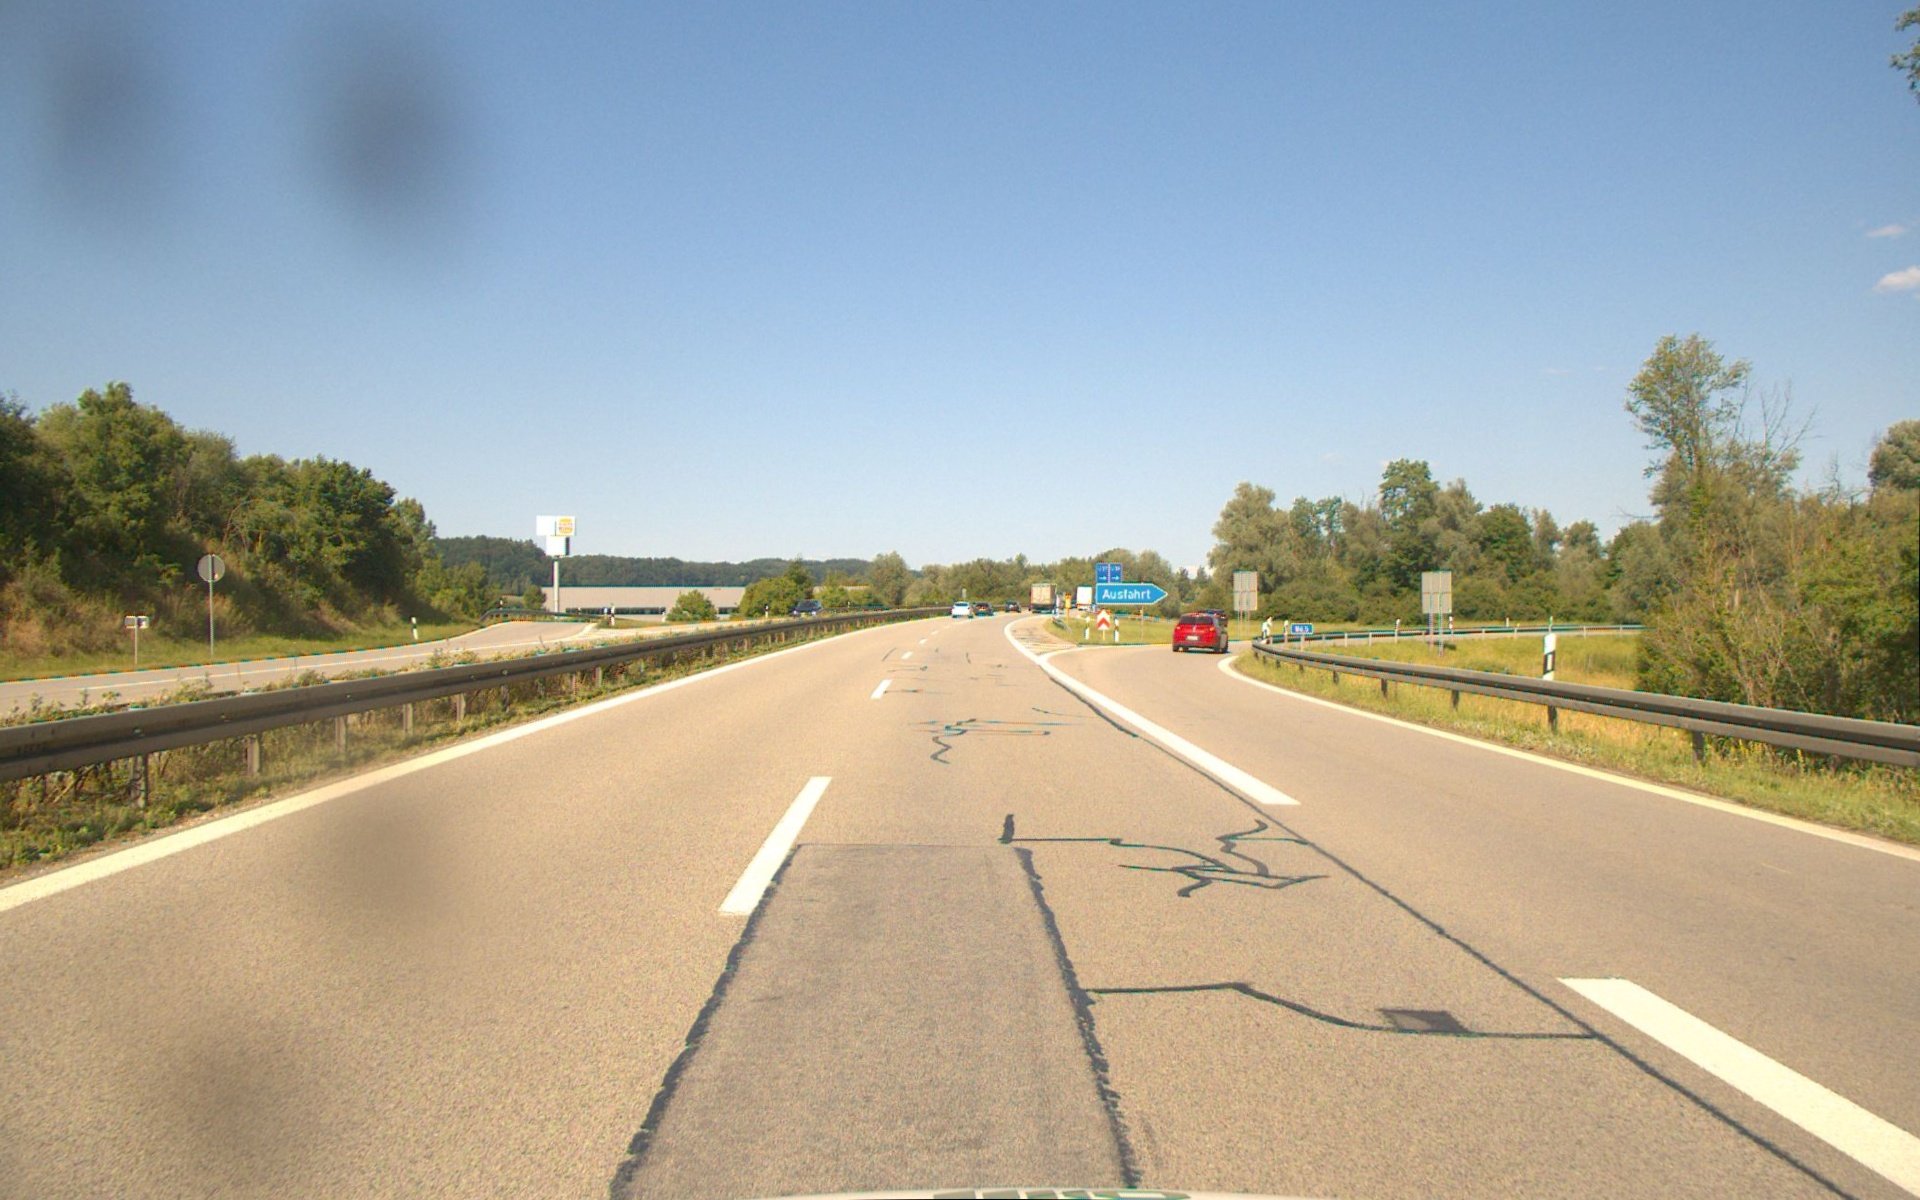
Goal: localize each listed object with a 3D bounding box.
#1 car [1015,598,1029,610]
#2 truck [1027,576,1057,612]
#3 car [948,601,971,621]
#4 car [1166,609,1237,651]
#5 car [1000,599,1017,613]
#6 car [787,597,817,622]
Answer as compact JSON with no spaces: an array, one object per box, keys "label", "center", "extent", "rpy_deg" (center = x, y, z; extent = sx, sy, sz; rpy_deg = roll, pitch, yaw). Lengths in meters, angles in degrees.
[{"label":"car","center":[9.190,0.629,246.089],"extent":[1.952,1.780,4.000],"rpy_deg":[-1,0,0]},{"label":"truck","center":[10.883,-0.823,220.347],"extent":[3.758,4.474,11.474],"rpy_deg":[-2,0,2]},{"label":"car","center":[-0.070,1.003,150.845],"extent":[2.020,1.653,3.998],"rpy_deg":[-2,-2,-1]},{"label":"car","center":[9.039,1.143,61.601],"extent":[1.747,1.456,4.000],"rpy_deg":[2,-1,21]},{"label":"car","center":[6.321,0.794,216.545],"extent":[1.953,1.780,3.999],"rpy_deg":[-1,0,-1]},{"label":"car","center":[-11.705,0.719,122.489],"extent":[1.841,1.653,3.998],"rpy_deg":[-2,-2,-1]}]
